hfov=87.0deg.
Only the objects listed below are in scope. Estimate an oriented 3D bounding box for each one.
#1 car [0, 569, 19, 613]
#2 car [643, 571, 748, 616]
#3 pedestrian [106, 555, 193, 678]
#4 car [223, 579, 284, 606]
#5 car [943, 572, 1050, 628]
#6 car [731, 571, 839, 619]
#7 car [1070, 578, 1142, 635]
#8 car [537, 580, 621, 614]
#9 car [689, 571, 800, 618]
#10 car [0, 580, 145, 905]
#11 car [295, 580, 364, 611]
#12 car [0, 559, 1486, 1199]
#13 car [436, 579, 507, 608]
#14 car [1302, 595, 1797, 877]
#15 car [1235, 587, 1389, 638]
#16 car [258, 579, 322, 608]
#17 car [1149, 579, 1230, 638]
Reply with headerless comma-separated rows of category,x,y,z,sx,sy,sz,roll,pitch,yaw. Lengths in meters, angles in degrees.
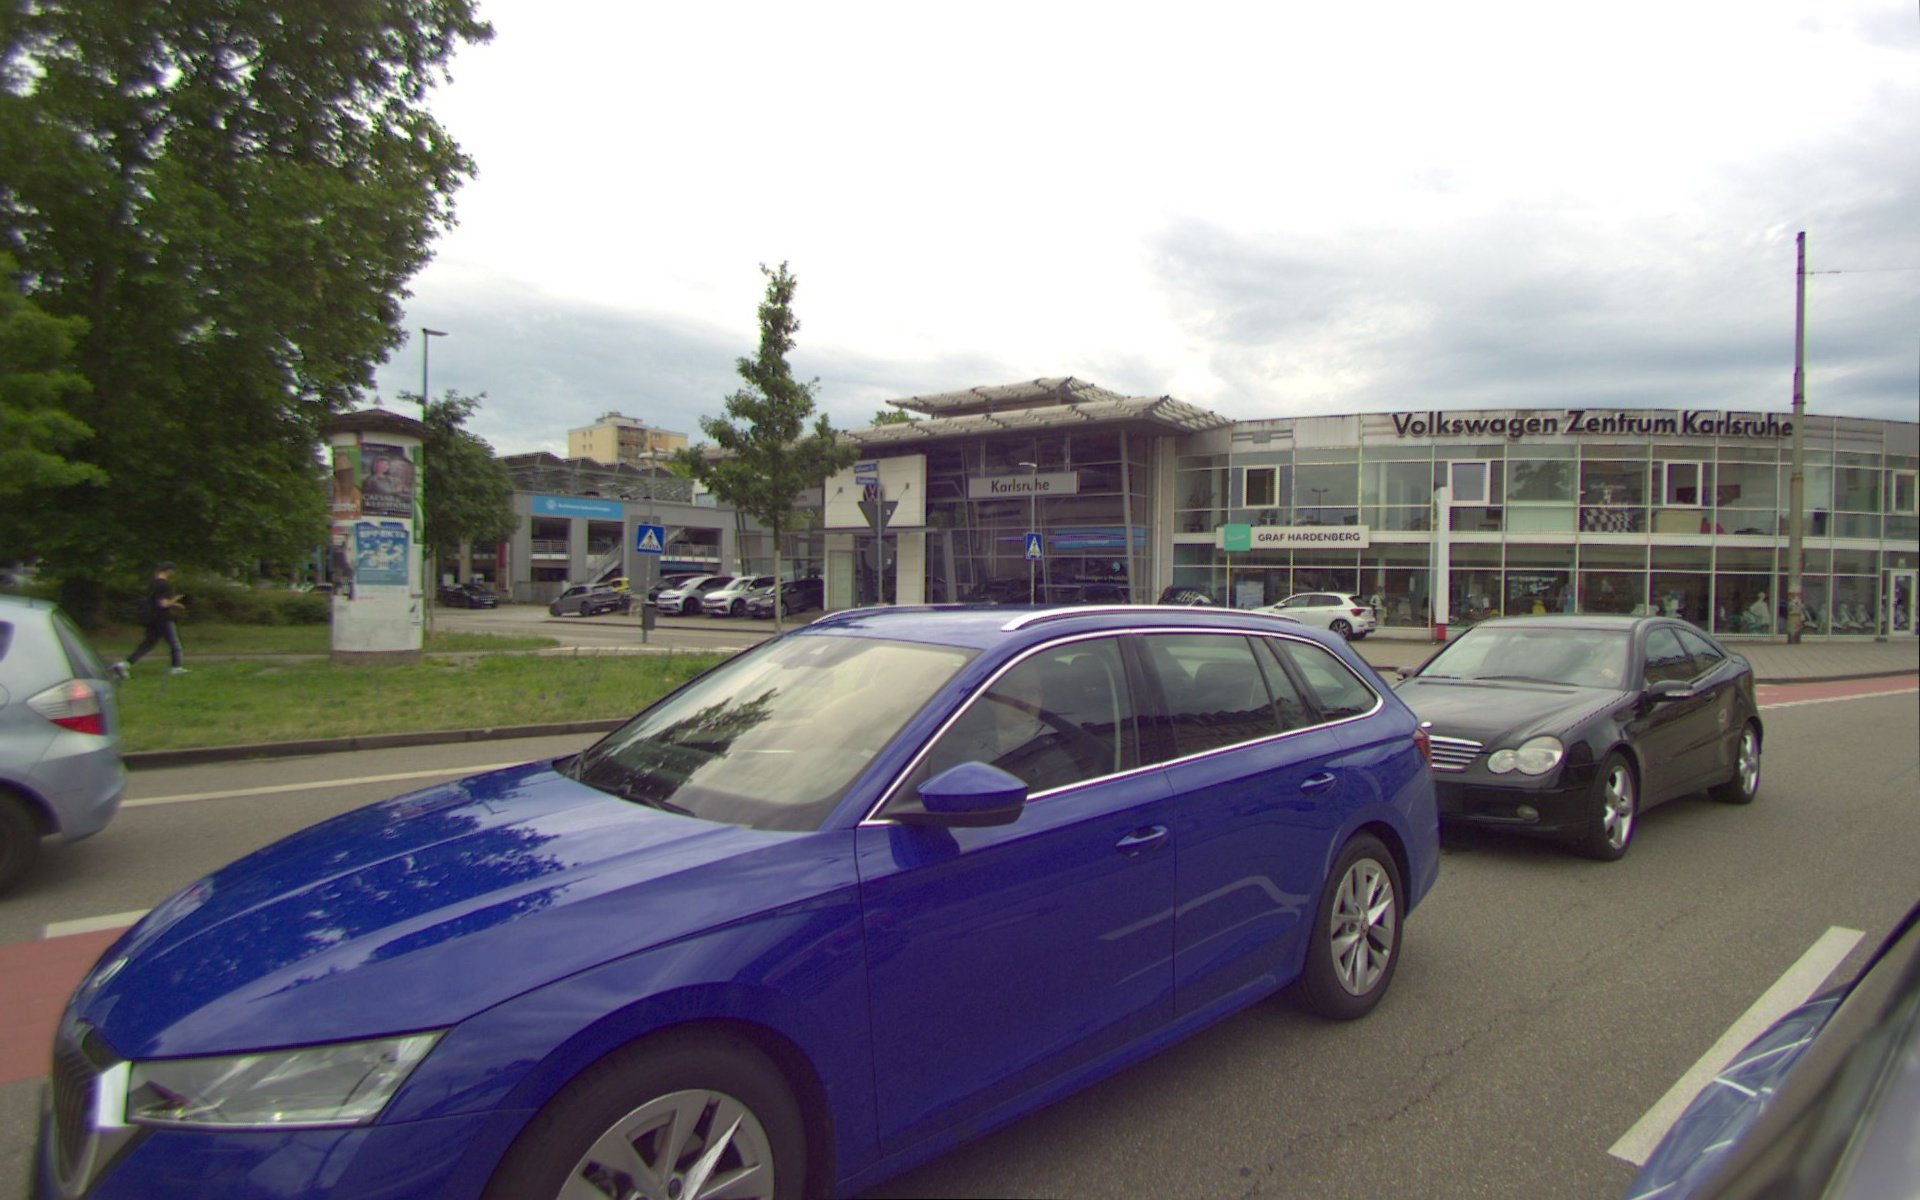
car,-36.507,-0.337,36.332,4.408,1.567,1.854,1,1,13
car,-11.987,-0.335,46.189,1.859,1.719,4.419,0,4,37
pedestrian,-12.730,0.245,15.915,0.527,1.867,0.985,1,1,6
car,-46.035,-0.527,65.904,4.446,1.643,1.838,2,2,35
car,1.366,-0.056,35.883,1.846,1.652,4.464,0,4,31
car,-7.324,-0.254,42.849,1.886,1.717,4.421,0,4,36
car,4.702,0.153,33.125,1.824,1.522,4.340,0,4,2
car,-18.645,-0.169,49.495,3.988,1.583,1.896,0,2,35
car,-9.407,-0.280,44.594,1.850,1.719,4.716,0,4,36
car,-6.115,0.648,4.338,4.027,1.485,1.752,0,1,-41
car,-37.071,-0.294,59.500,4.446,1.643,1.838,2,2,35
car,-0.111,0.659,3.339,4.387,1.507,1.783,-1,2,-41
car,-28.994,-0.408,60.047,4.446,1.567,1.876,2,2,35
car,4.338,0.705,7.212,3.996,1.439,1.714,0,1,-39
car,11.006,0.354,31.792,4.243,1.471,1.757,1,1,40
car,-41.727,-0.421,62.974,4.446,1.643,1.838,2,2,35
car,7.350,0.205,32.740,1.867,1.581,4.219,1,3,4
